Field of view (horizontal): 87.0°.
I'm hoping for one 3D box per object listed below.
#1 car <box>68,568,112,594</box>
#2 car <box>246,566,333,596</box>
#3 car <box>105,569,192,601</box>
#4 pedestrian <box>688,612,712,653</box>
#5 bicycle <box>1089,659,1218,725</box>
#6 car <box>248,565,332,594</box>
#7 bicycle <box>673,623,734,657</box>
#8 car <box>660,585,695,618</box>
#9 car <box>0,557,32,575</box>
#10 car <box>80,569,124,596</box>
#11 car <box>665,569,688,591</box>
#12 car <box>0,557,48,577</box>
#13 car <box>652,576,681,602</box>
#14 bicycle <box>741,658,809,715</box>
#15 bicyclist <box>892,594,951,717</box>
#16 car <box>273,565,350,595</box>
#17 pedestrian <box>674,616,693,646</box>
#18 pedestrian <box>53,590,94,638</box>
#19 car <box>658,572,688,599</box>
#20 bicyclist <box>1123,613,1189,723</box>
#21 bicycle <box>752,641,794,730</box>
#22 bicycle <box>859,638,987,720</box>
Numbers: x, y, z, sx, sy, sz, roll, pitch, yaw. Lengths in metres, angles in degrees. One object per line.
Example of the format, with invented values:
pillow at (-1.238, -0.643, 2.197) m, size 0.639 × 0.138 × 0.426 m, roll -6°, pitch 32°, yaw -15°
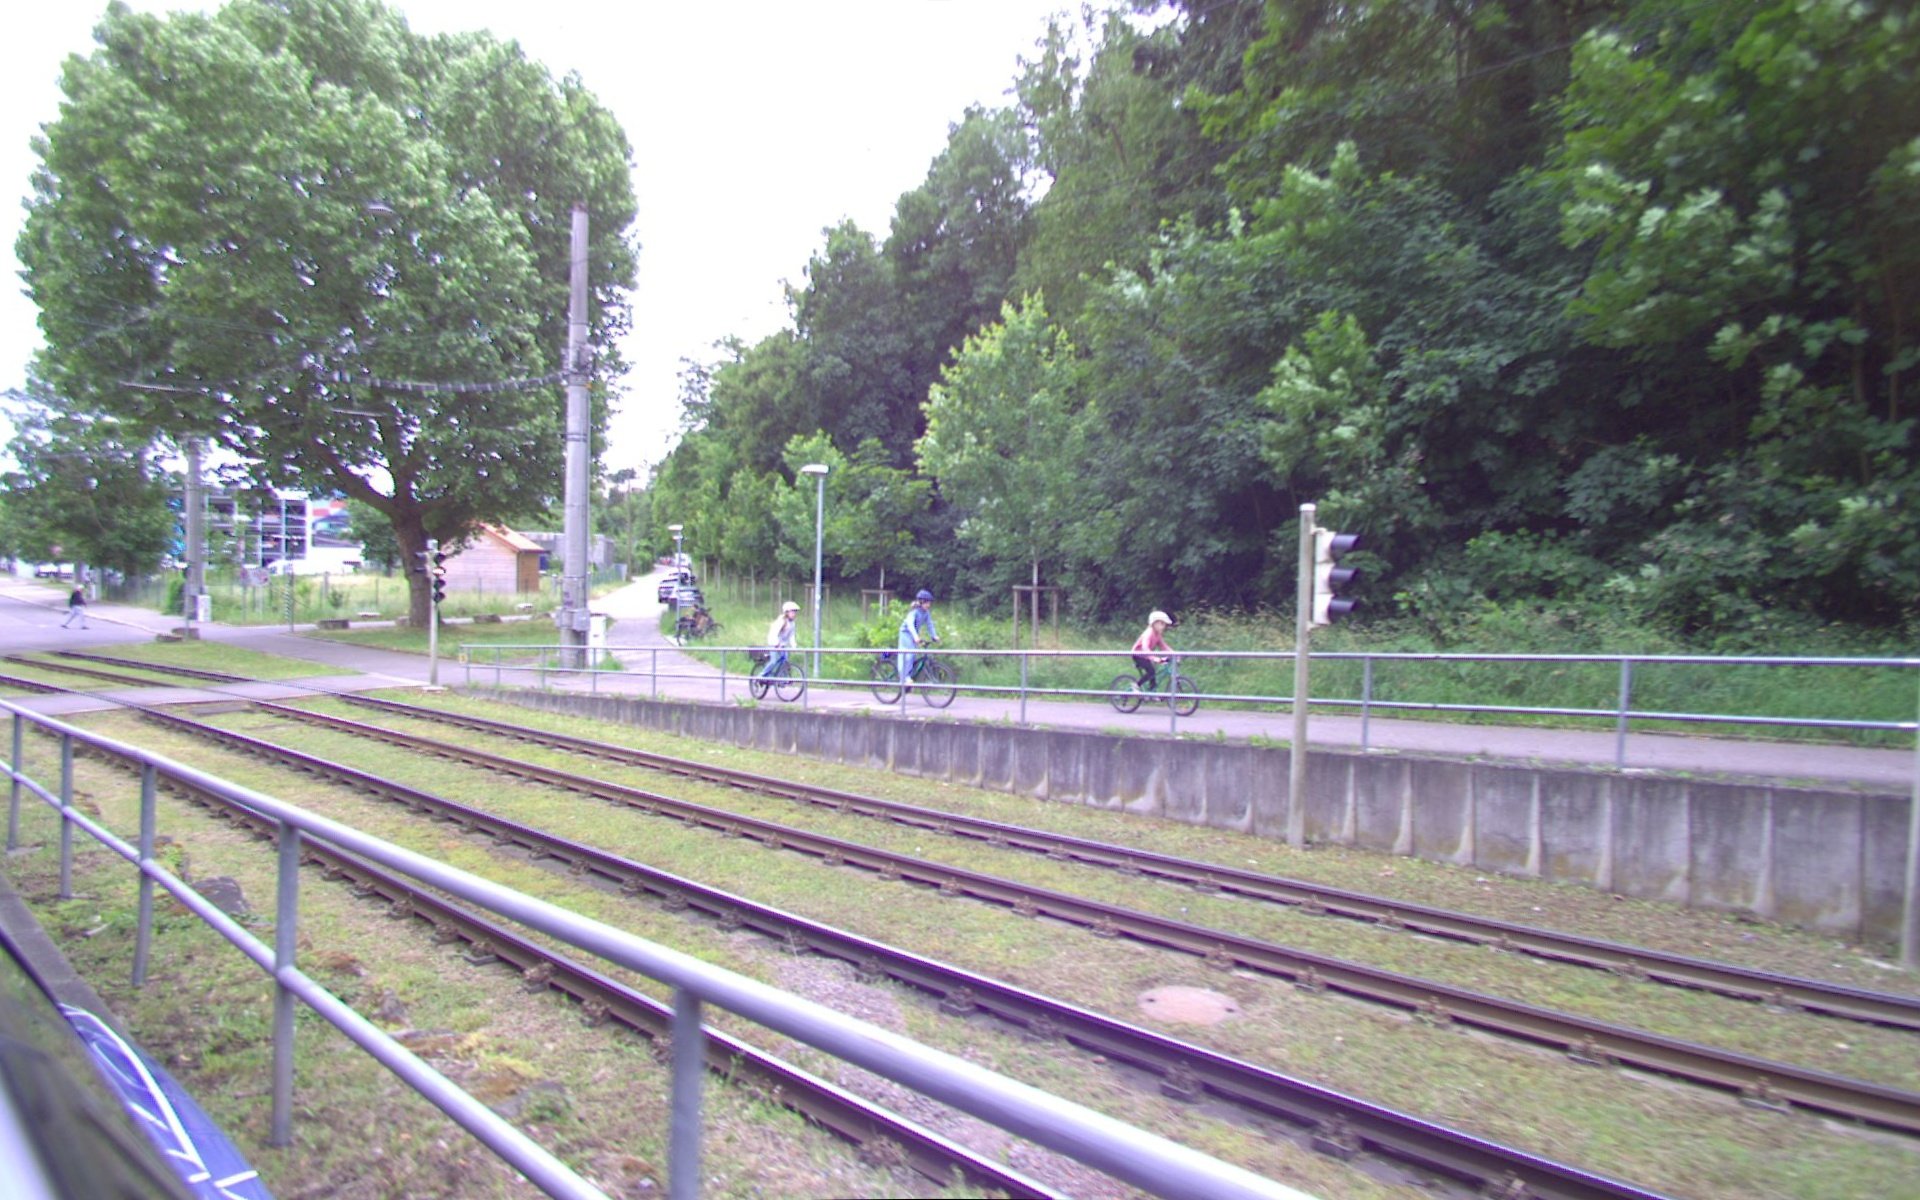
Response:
car at (-78.660, -1.775, 91.477) m, size 4.772 × 2.131 × 2.115 m, roll 3°, pitch 5°, yaw 39°
car at (-56.787, -1.669, 85.835) m, size 5.762 × 2.284 × 2.060 m, roll -2°, pitch 4°, yaw -20°
car at (-65.497, -1.259, 81.704) m, size 2.001 × 2.284 × 5.197 m, roll 3°, pitch 6°, yaw 44°
pedestrian at (-8.312, 1.034, 32.297) m, size 0.570 × 1.244 × 0.675 m, roll -3°, pitch 4°, yaw -28°
bicycle at (2.416, 1.135, 12.753) m, size 1.559 × 0.744 × 0.448 m, roll -3°, pitch 1°, yaw 44°
car at (-58.822, -1.869, 89.024) m, size 5.751 × 2.284 × 2.060 m, roll -2°, pitch 4°, yaw -20°
bicycle at (-7.901, 1.229, 31.210) m, size 1.716 × 0.892 × 0.624 m, roll -2°, pitch 4°, yaw -22°
car at (-14.627, 0.053, 52.394) m, size 1.672 × 1.434 × 3.514 m, roll -2°, pitch 4°, yaw -15°
car at (-122.735, -4.334, 130.187) m, size 2.107 × 2.225 × 4.580 m, roll 2°, pitch 5°, yaw 39°
car at (-73.987, -1.563, 87.268) m, size 4.774 × 2.131 × 2.114 m, roll 3°, pitch 5°, yaw 41°
car at (-23.725, -1.715, 84.716) m, size 1.728 × 1.624 × 3.693 m, roll -2°, pitch 4°, yaw -15°
car at (-112.184, -3.983, 120.828) m, size 2.107 × 2.225 × 4.580 m, roll 2°, pitch 5°, yaw 39°
car at (-18.570, -0.731, 64.151) m, size 1.672 × 1.434 × 3.514 m, roll -2°, pitch 4°, yaw -15°
bicycle at (-2.981, 1.360, 16.225) m, size 0.447 × 0.744 × 1.657 m, roll -4°, pitch 2°, yaw -32°
bicyclist at (-0.544, 0.777, 14.447) m, size 0.622 × 1.687 × 0.469 m, roll -1°, pitch 3°, yaw 36°
car at (-59.244, -1.859, 92.529) m, size 5.566 × 2.478 × 1.987 m, roll -2°, pitch 4°, yaw -23°
pedestrian at (-9.942, 1.097, 36.348) m, size 0.523 × 0.997 × 0.622 m, roll -3°, pitch 4°, yaw -27°
pedestrian at (-34.975, 0.526, 39.915) m, size 1.104 × 1.773 × 0.814 m, roll -4°, pitch 5°, yaw -45°
car at (-19.586, -1.026, 69.205) m, size 1.877 × 1.624 × 3.693 m, roll -2°, pitch 4°, yaw -15°
bicyclist at (2.455, 0.847, 12.672) m, size 0.581 × 1.311 × 0.448 m, roll -3°, pitch 1°, yaw 44°
bicycle at (-3.004, 1.359, 16.249) m, size 0.447 × 1.339 × 0.517 m, roll -4°, pitch 2°, yaw -32°
bicycle at (-0.553, 1.101, 14.473) m, size 1.941 × 1.049 × 0.469 m, roll -1°, pitch 3°, yaw 37°
